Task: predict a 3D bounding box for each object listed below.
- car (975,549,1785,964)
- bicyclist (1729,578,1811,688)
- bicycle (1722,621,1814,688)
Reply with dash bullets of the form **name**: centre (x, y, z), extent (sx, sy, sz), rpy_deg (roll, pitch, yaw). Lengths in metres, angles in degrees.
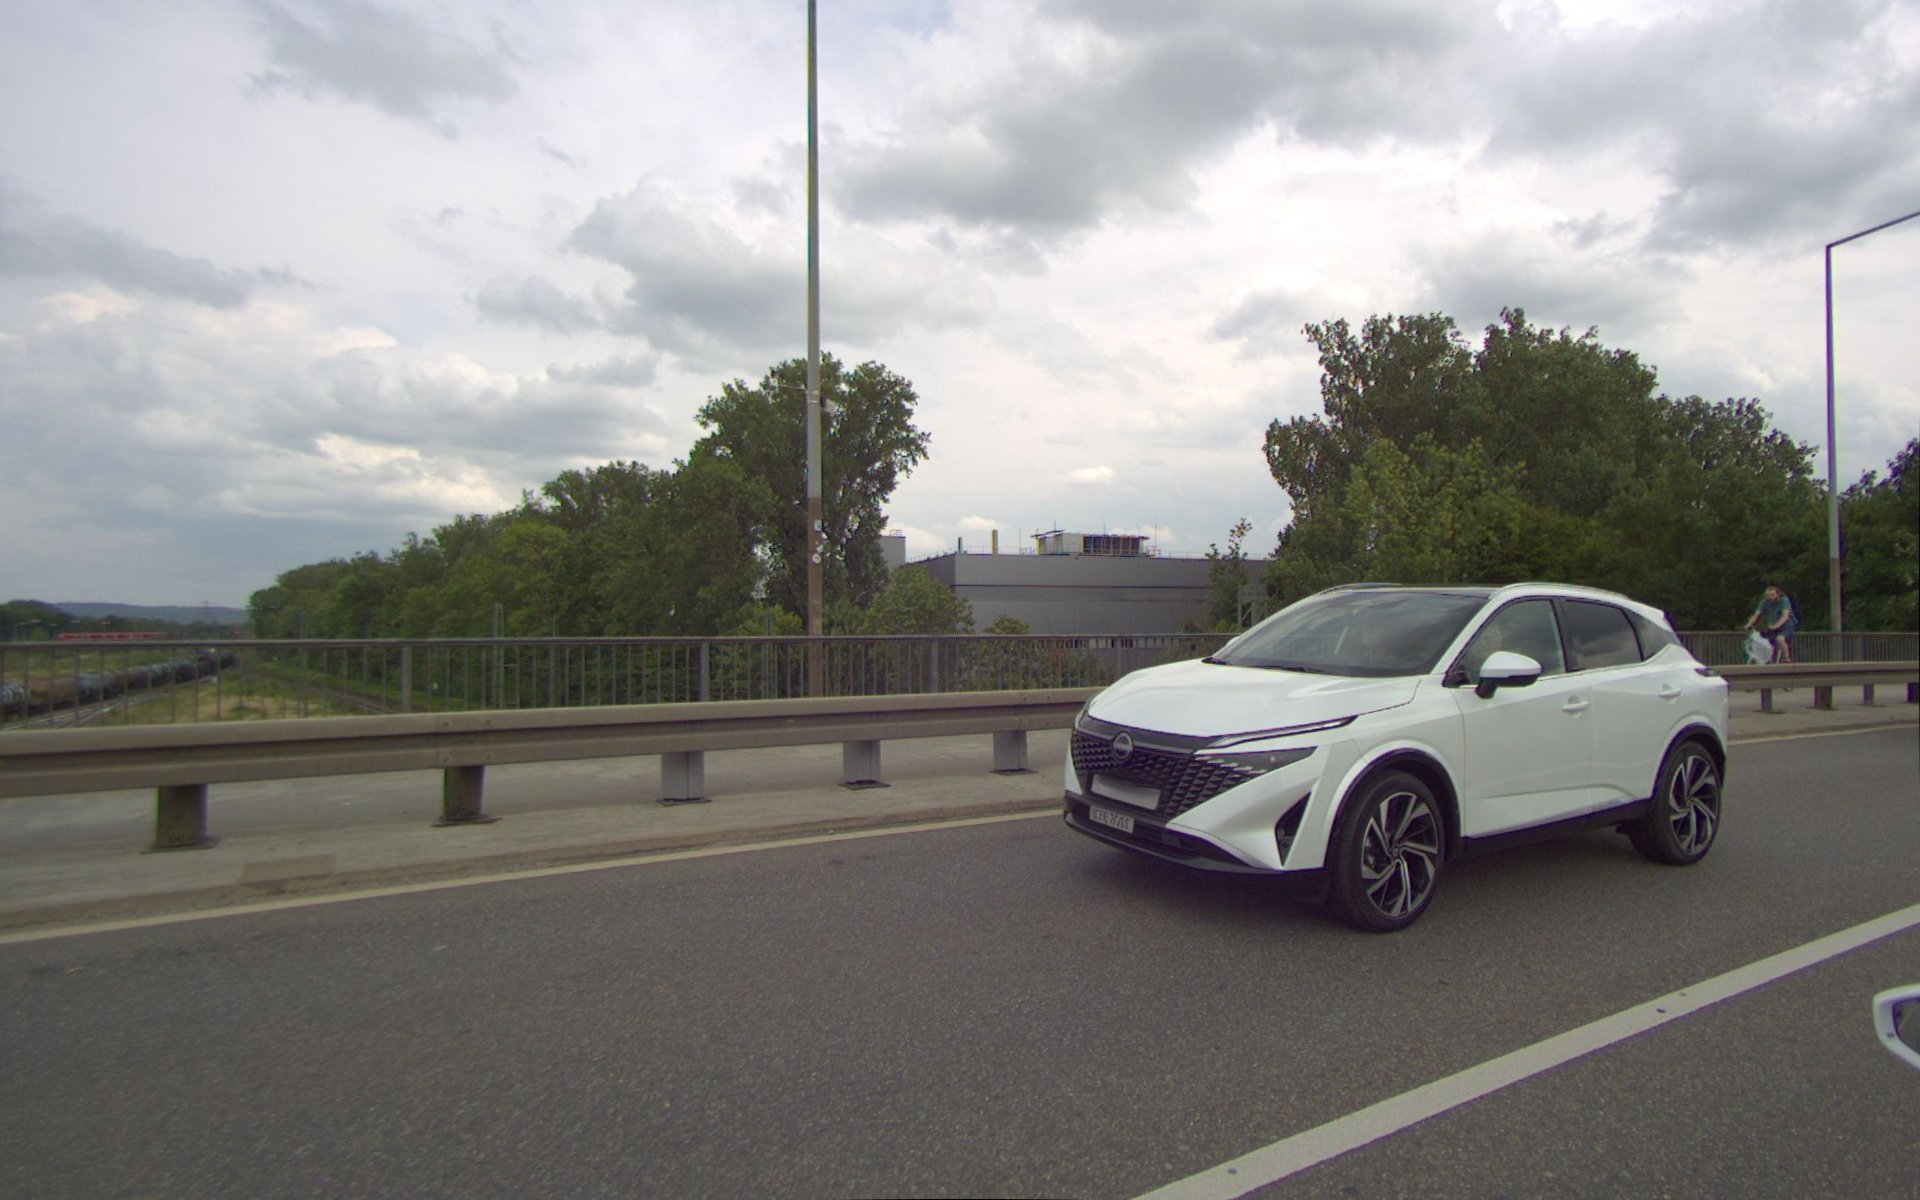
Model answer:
- **car**: centre (2.607, 0.647, 5.924), extent (4.717, 1.614, 1.932), rpy_deg (1, 0, -30)
- **bicyclist**: centre (13.940, 0.549, 17.304), extent (0.787, 1.832, 0.844), rpy_deg (1, 0, -30)
- **bicycle**: centre (13.887, 0.922, 17.263), extent (1.741, 1.081, 0.642), rpy_deg (1, 0, -30)
